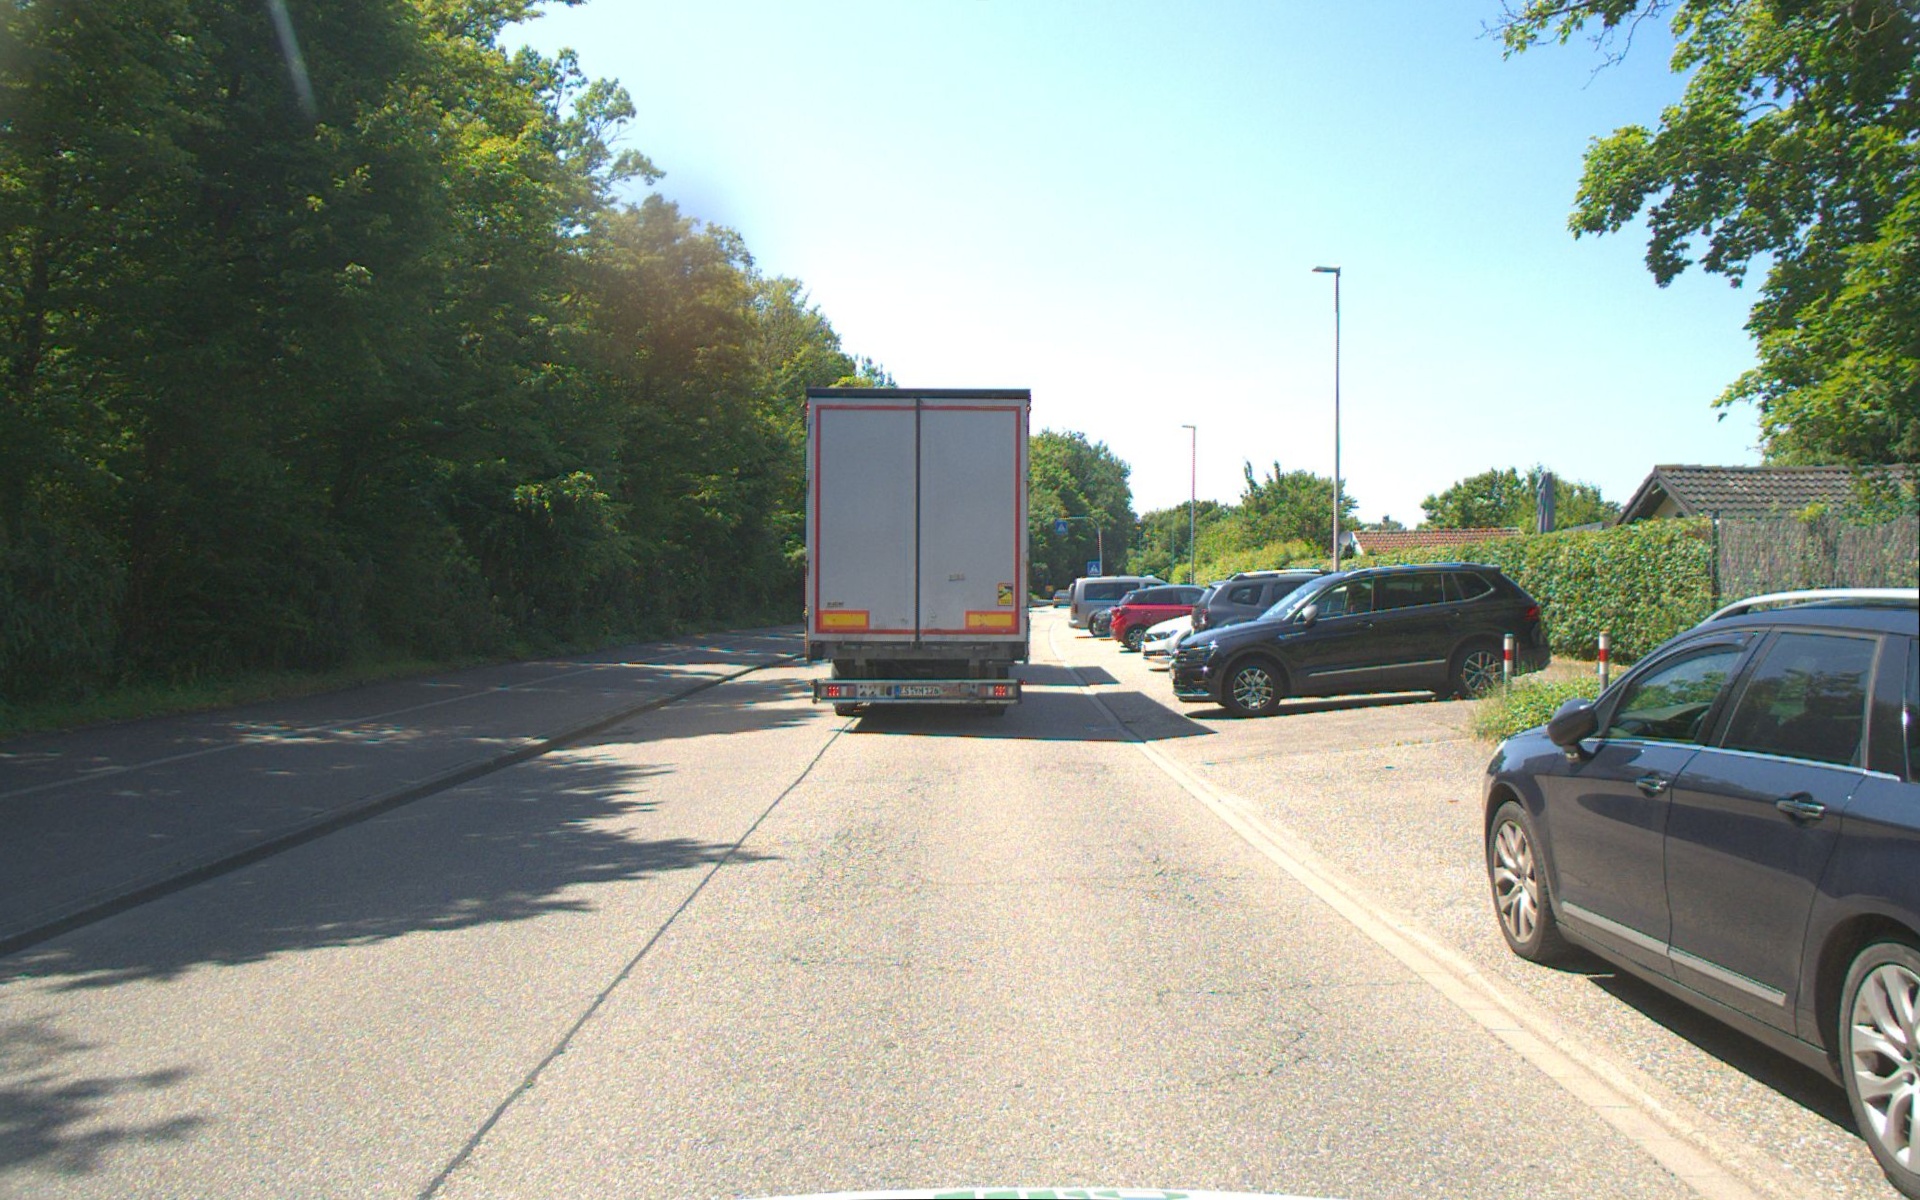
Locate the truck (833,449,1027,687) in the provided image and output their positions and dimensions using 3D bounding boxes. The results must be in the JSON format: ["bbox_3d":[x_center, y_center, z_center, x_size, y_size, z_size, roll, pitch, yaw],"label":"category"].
[{"bbox_3d":[-0.508,-0.559,30.257,3.050,3.790,6.413,-2,1,0],"label":"truck"}]

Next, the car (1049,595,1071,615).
[{"bbox_3d":[7.875,0.389,130.319,1.743,1.512,4.002,0,1,4],"label":"car"}]

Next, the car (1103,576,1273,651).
[{"bbox_3d":[5.474,0.311,40.036,3.838,1.504,1.845,-4,1,2],"label":"car"}]

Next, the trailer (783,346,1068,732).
[{"bbox_3d":[-0.435,-0.712,23.904,3.049,4.174,11.535,-1,0,-1],"label":"trailer"}]

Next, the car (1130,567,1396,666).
[{"bbox_3d":[5.537,0.278,30.603,4.467,1.464,1.961,-4,1,-2],"label":"car"}]

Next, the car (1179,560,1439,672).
[{"bbox_3d":[5.876,0.252,28.141,3.967,1.575,1.758,-4,1,-1],"label":"car"}]

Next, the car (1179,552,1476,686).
[{"bbox_3d":[5.621,0.268,25.714,4.169,1.728,1.854,-4,1,3],"label":"car"}]

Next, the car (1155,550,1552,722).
[{"bbox_3d":[4.771,0.417,20.534,4.380,1.733,1.913,-4,1,-1],"label":"car"}]

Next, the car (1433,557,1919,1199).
[{"bbox_3d":[3.160,0.651,5.444,1.753,1.507,4.664,-4,1,-1],"label":"car"}]

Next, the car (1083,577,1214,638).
[{"bbox_3d":[5.516,0.201,48.621,3.505,1.528,1.841,-4,1,-3],"label":"car"}]

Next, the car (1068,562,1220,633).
[{"bbox_3d":[5.701,-0.078,51.807,4.525,1.880,1.997,-4,1,3],"label":"car"}]

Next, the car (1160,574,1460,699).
[{"bbox_3d":[4.828,0.492,23.290,3.912,1.477,1.833,-3,0,6],"label":"car"}]
